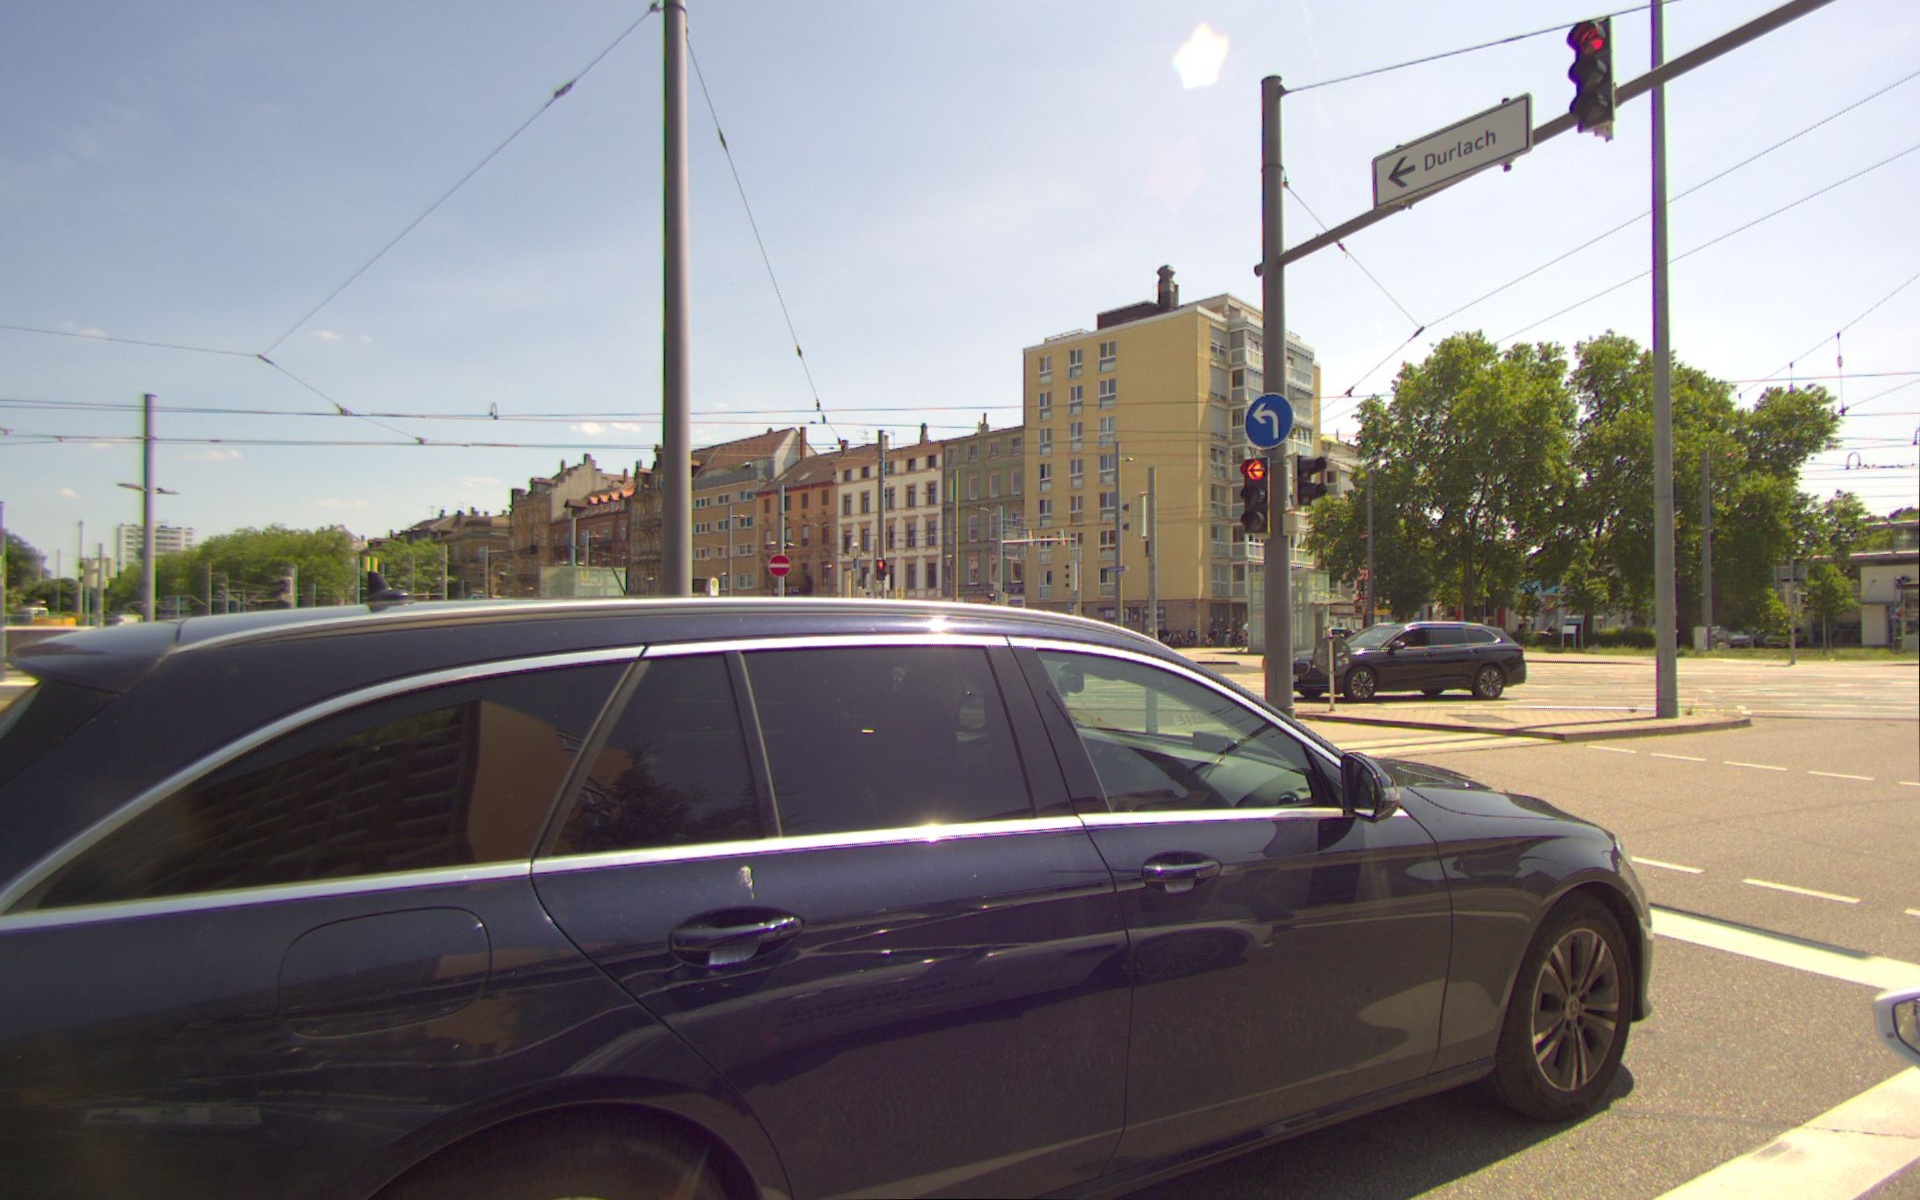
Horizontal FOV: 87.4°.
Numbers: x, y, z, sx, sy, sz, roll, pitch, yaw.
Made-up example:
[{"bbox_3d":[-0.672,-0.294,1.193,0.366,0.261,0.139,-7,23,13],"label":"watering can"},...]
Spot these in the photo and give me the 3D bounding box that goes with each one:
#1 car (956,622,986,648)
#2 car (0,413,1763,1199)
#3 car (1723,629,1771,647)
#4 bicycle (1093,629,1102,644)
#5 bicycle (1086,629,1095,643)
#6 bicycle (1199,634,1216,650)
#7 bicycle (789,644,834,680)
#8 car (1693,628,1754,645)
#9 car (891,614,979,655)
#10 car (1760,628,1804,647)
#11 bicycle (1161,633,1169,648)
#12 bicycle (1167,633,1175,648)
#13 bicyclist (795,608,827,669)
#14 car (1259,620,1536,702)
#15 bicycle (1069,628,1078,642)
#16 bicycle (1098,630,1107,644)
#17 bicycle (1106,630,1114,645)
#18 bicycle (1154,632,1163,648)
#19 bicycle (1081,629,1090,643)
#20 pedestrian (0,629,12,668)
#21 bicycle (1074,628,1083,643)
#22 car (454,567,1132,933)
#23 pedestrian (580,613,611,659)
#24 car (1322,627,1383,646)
[{"bbox_3d":[0.749,2.473,70.660,1.803,1.773,3.998,0,-1,-4],"label":"car"},{"bbox_3d":[0.135,0.642,2.904,4.747,1.662,1.789,1,0,-30],"label":"car"},{"bbox_3d":[68.298,3.250,87.155,4.274,1.530,1.759,1,-2,-29],"label":"car"},{"bbox_3d":[9.981,2.650,73.001,0.424,1.040,1.445,0,-1,16],"label":"bicycle"},{"bbox_3d":[9.539,2.637,73.298,0.424,1.040,1.445,0,-1,16],"label":"bicycle"},{"bbox_3d":[16.828,2.839,68.325,0.427,1.040,1.435,-1,-2,44],"label":"bicycle"},{"bbox_3d":[-3.960,1.628,26.672,0.620,0.866,1.887,1,-2,-26],"label":"bicycle"},{"bbox_3d":[70.947,3.386,93.382,4.245,1.530,1.771,-1,-2,26],"label":"car"},{"bbox_3d":[-1.390,1.841,54.105,4.804,2.084,1.988,-1,-2,43],"label":"car"},{"bbox_3d":[69.190,3.145,84.512,4.283,1.530,1.756,1,-2,-35],"label":"car"},{"bbox_3d":[14.044,2.754,68.859,0.424,1.040,1.445,0,-1,16],"label":"bicycle"},{"bbox_3d":[14.414,2.764,68.594,0.424,1.040,1.445,0,-1,16],"label":"bicycle"},{"bbox_3d":[-3.934,0.999,26.492,0.433,1.549,1.245,2,0,-26],"label":"bicyclist"},{"bbox_3d":[8.539,1.157,19.735,4.762,1.484,1.995,0,-1,-13],"label":"car"},{"bbox_3d":[8.409,2.608,74.382,0.424,1.040,1.445,0,-1,16],"label":"bicycle"},{"bbox_3d":[10.297,2.657,72.604,0.424,1.040,1.445,0,-1,16],"label":"bicycle"},{"bbox_3d":[10.815,2.672,72.345,0.424,1.040,1.445,0,-1,16],"label":"bicycle"},{"bbox_3d":[13.670,2.744,69.170,0.424,1.040,1.445,0,-1,16],"label":"bicycle"},{"bbox_3d":[9.178,2.628,73.606,0.424,1.040,1.445,0,-1,16],"label":"bicycle"},{"bbox_3d":[-33.852,1.700,35.095,0.978,1.352,0.527,0,-1,2],"label":"pedestrian"},{"bbox_3d":[8.751,2.617,74.043,0.424,1.040,1.445,0,-1,16],"label":"bicycle"},{"bbox_3d":[-0.952,0.702,6.075,3.693,1.597,1.736,1,-2,-30],"label":"car"},{"bbox_3d":[-14.639,1.433,40.381,1.114,1.837,0.677,-1,-2,38],"label":"pedestrian"},{"bbox_3d":[29.704,2.753,76.042,3.939,1.439,1.991,-1,-2,39],"label":"car"}]
